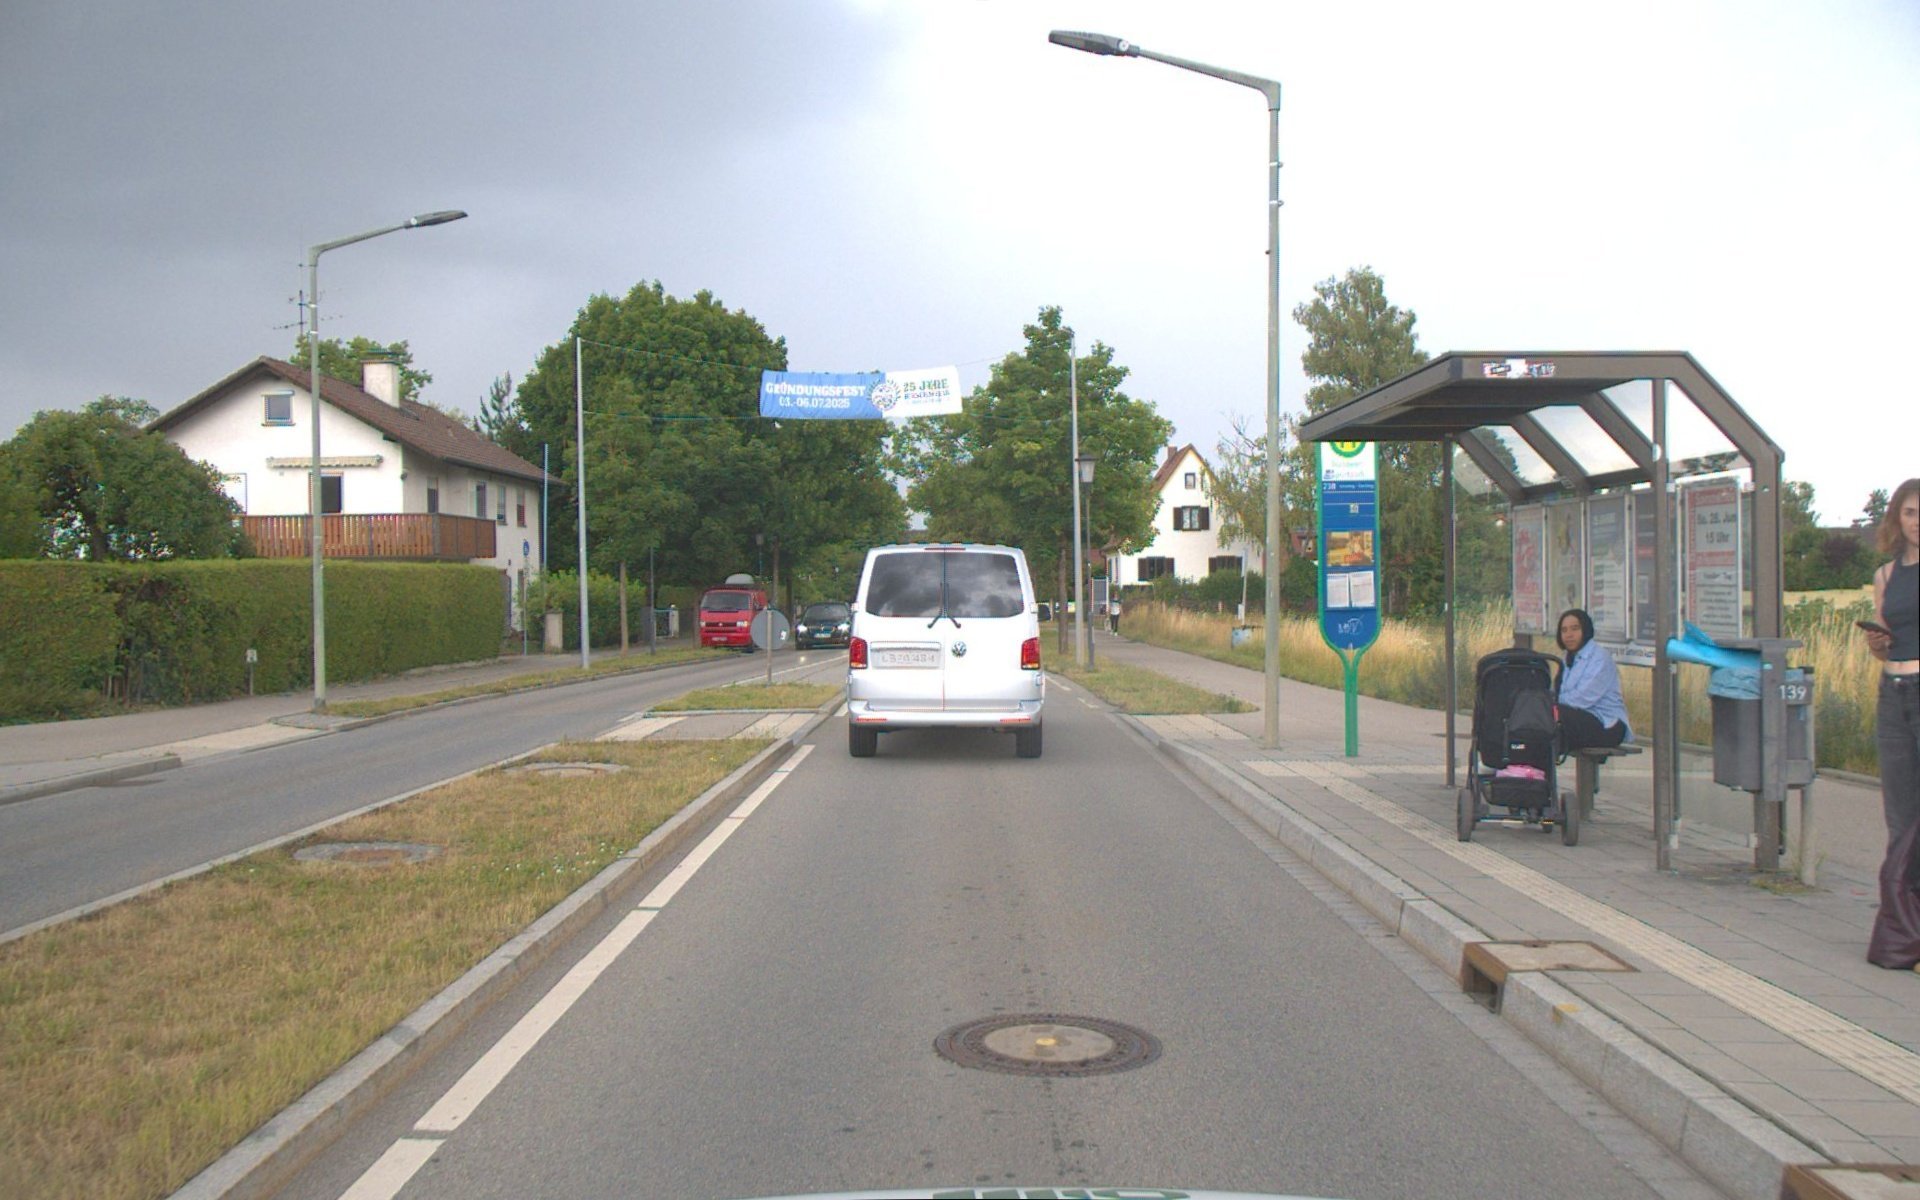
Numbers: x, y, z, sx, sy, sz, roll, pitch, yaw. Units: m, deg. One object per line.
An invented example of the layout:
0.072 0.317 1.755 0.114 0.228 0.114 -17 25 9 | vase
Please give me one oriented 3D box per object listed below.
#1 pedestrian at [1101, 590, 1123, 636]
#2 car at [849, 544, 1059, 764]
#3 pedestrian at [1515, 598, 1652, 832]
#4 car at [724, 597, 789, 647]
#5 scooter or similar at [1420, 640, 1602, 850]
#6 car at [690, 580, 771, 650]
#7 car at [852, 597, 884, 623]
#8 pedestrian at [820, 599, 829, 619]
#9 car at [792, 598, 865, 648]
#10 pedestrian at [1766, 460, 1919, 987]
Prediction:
5.967 0.498 65.077 0.820 1.785 0.870 0 0 4 | pedestrian
-0.090 0.485 16.638 1.849 1.945 3.999 0 0 -1 | car
3.671 0.658 9.768 0.650 1.325 0.505 1 0 8 | pedestrian
-7.020 0.735 57.395 1.735 1.626 4.237 0 1 0 | car
3.127 0.776 9.349 0.694 1.080 1.056 0 -1 36 | scooter or similar
-7.055 0.423 51.300 1.792 2.066 5.046 1 0 0 | car
-5.883 0.652 106.226 1.671 1.559 3.509 -3 0 2 | car
-10.295 0.679 125.661 0.610 1.576 0.522 1 -1 -5 | pedestrian
-4.222 0.714 53.612 1.880 1.479 4.497 -1 0 1 | car
3.615 0.433 6.177 0.767 1.824 0.777 1 0 -11 | pedestrian
